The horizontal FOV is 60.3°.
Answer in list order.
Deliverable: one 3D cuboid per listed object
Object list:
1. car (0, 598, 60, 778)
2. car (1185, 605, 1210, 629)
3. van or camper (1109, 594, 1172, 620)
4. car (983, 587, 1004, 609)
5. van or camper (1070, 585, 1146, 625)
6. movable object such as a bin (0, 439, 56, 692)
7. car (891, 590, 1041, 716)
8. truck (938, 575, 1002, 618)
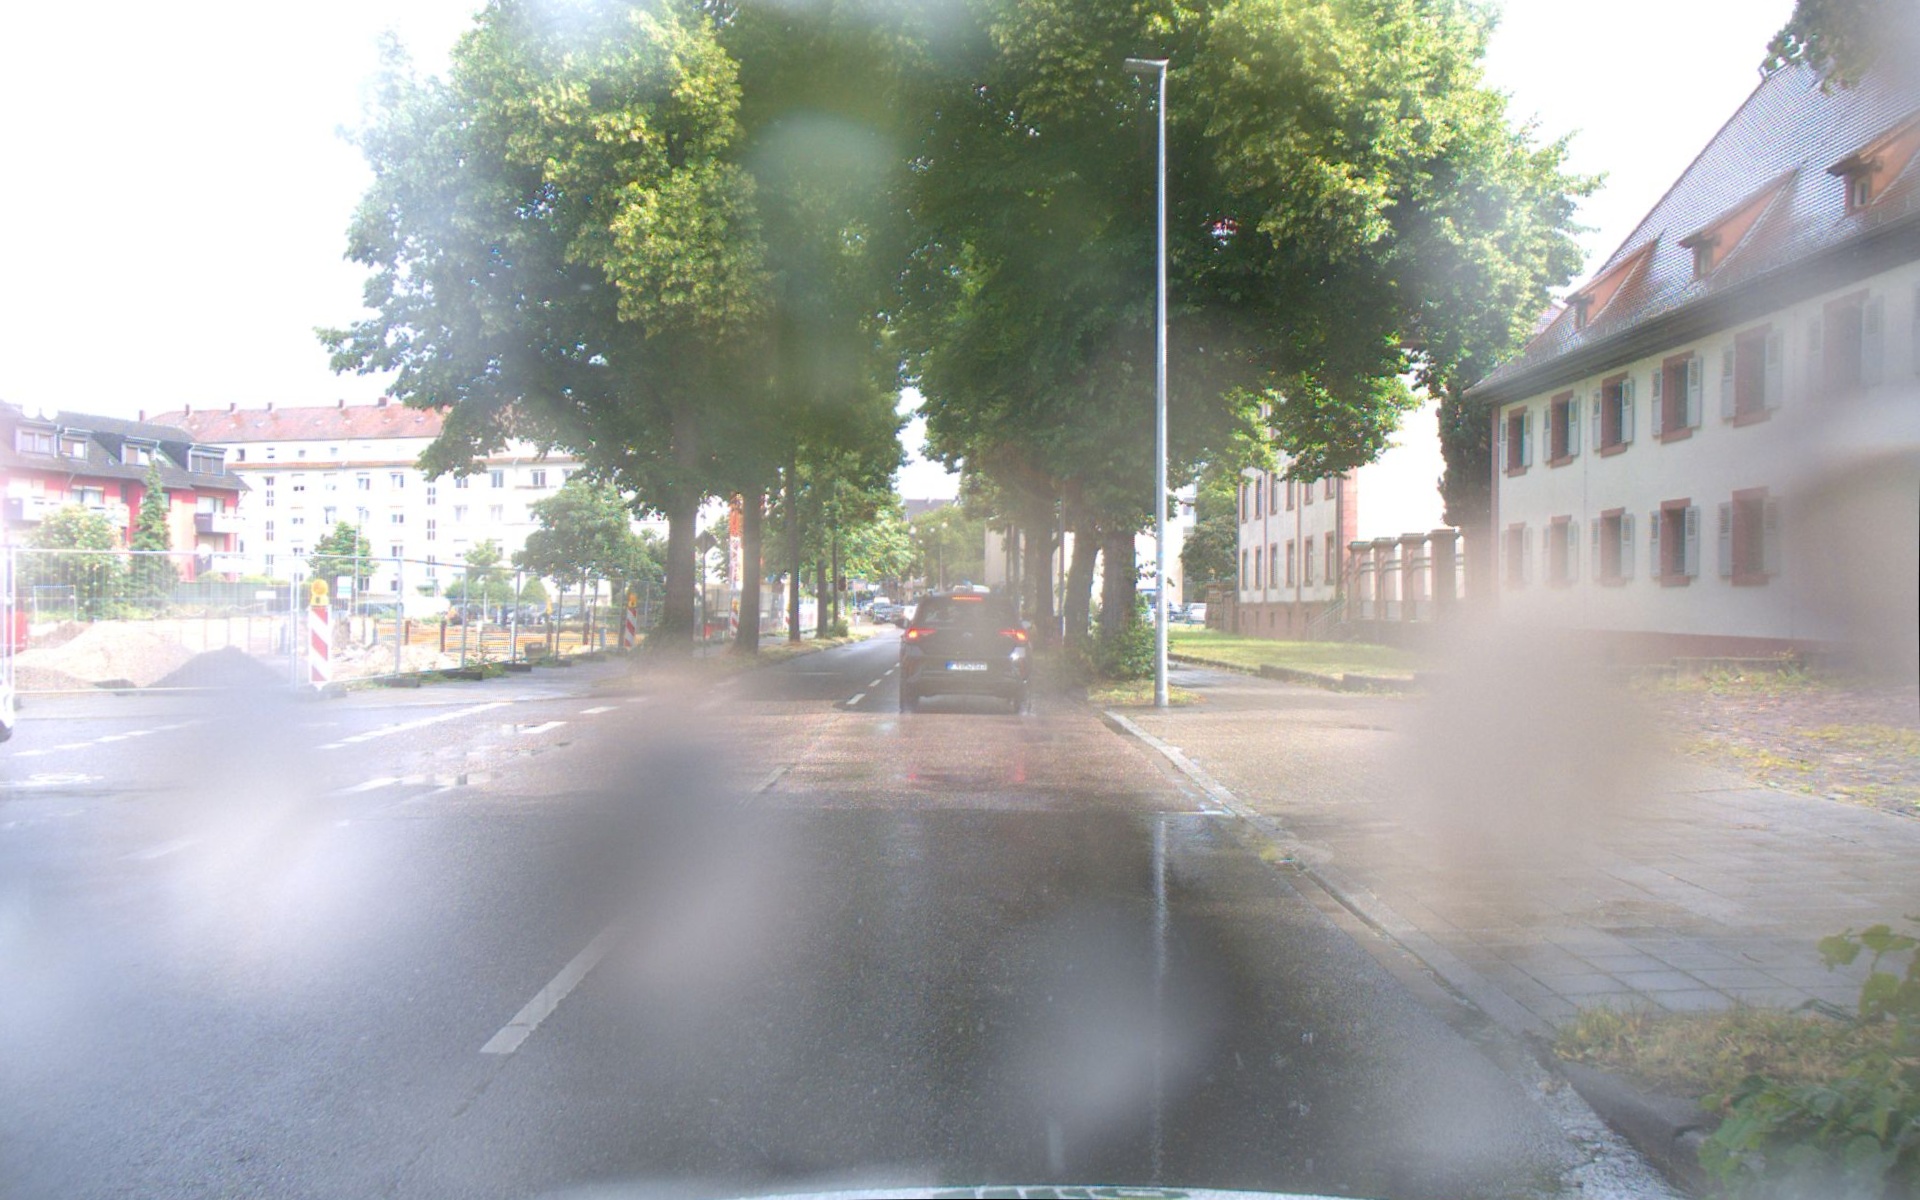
[{"bbox_3d":[-10.112,0.775,14.551,3.528,1.560,1.739,0,0,10],"label":"car"},{"bbox_3d":[18.174,1.317,126.587,1.706,1.713,3.873,-3,-1,6],"label":"car"},{"bbox_3d":[14.232,0.564,130.557,4.774,1.959,2.131,1,0,0],"label":"van or camper"},{"bbox_3d":[3.205,-0.195,158.677,1.952,2.049,4.000,0,-2,2],"label":"car"},{"bbox_3d":[10.092,0.343,113.045,4.930,2.641,2.167,0,-1,-1],"label":"van or camper"},{"bbox_3d":[-20.678,-0.645,27.329,9.608,4.187,3.367,1,0,2],"label":"movable object such as a bin"},{"bbox_3d":[0.057,0.677,22.743,1.856,1.549,3.999,1,0,-1],"label":"car"},{"bbox_3d":[0.601,-0.239,109.778,2.754,2.703,8.221,1,0,-10],"label":"truck"}]
